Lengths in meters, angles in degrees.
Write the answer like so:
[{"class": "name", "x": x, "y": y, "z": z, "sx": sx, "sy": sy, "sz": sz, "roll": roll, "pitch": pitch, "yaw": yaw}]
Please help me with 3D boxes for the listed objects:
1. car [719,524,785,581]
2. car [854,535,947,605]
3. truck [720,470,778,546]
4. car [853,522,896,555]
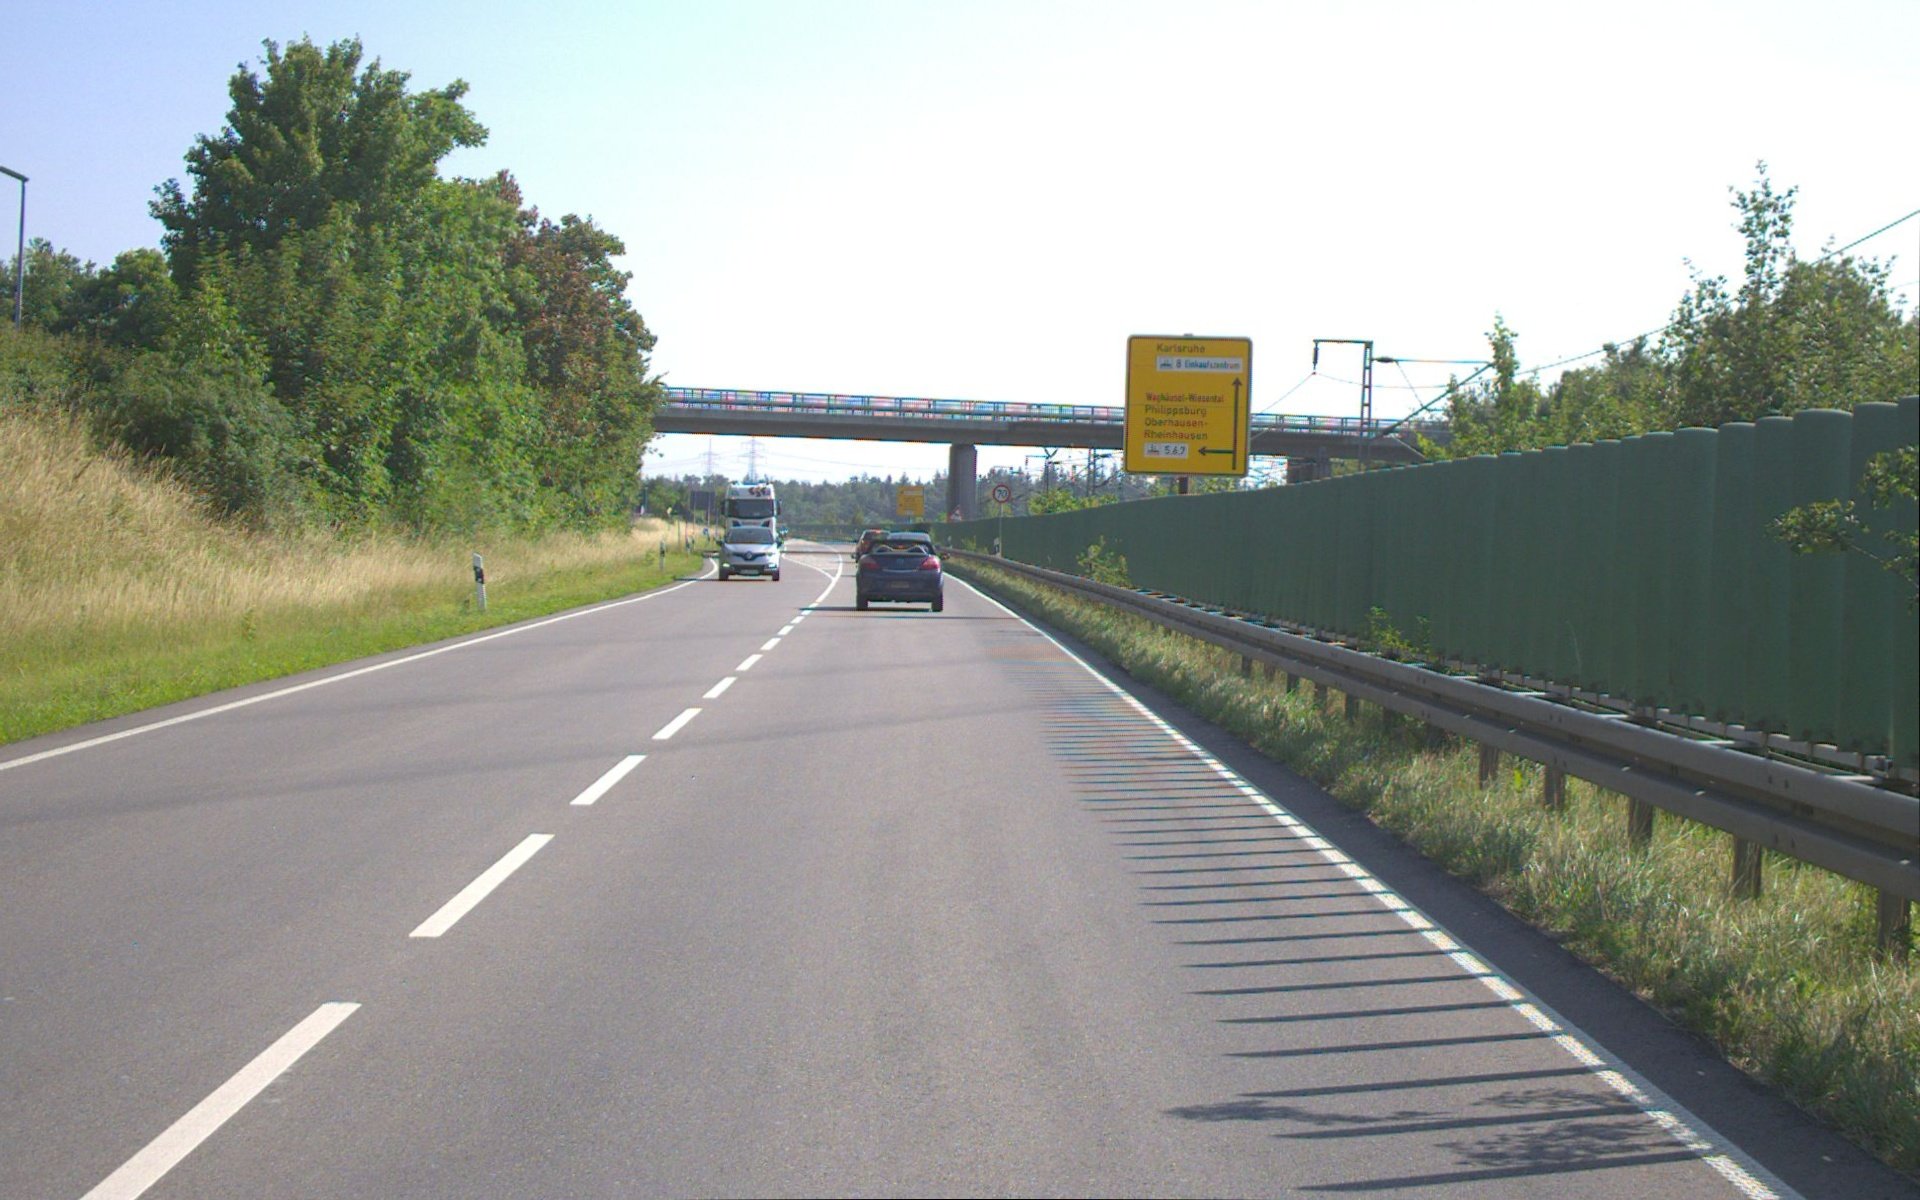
[{"class": "car", "x": -6.037, "y": -1.389, "z": 100.216, "sx": 1.795, "sy": 1.588, "sz": 4.000, "roll": 1, "pitch": 1, "yaw": -2}, {"class": "car", "x": -1.161, "y": -0.585, "z": 65.467, "sx": 1.663, "sy": 1.257, "sz": 4.000, "roll": 1, "pitch": 1, "yaw": -2}, {"class": "truck", "x": -10.607, "y": -4.632, "z": 173.587, "sx": 2.559, "sy": 3.676, "sz": 10.489, "roll": 1, "pitch": 1, "yaw": -2}, {"class": "car", "x": -3.860, "y": -2.780, "z": 154.914, "sx": 1.895, "sy": 1.413, "sz": 4.000, "roll": 1, "pitch": 1, "yaw": -2}]
